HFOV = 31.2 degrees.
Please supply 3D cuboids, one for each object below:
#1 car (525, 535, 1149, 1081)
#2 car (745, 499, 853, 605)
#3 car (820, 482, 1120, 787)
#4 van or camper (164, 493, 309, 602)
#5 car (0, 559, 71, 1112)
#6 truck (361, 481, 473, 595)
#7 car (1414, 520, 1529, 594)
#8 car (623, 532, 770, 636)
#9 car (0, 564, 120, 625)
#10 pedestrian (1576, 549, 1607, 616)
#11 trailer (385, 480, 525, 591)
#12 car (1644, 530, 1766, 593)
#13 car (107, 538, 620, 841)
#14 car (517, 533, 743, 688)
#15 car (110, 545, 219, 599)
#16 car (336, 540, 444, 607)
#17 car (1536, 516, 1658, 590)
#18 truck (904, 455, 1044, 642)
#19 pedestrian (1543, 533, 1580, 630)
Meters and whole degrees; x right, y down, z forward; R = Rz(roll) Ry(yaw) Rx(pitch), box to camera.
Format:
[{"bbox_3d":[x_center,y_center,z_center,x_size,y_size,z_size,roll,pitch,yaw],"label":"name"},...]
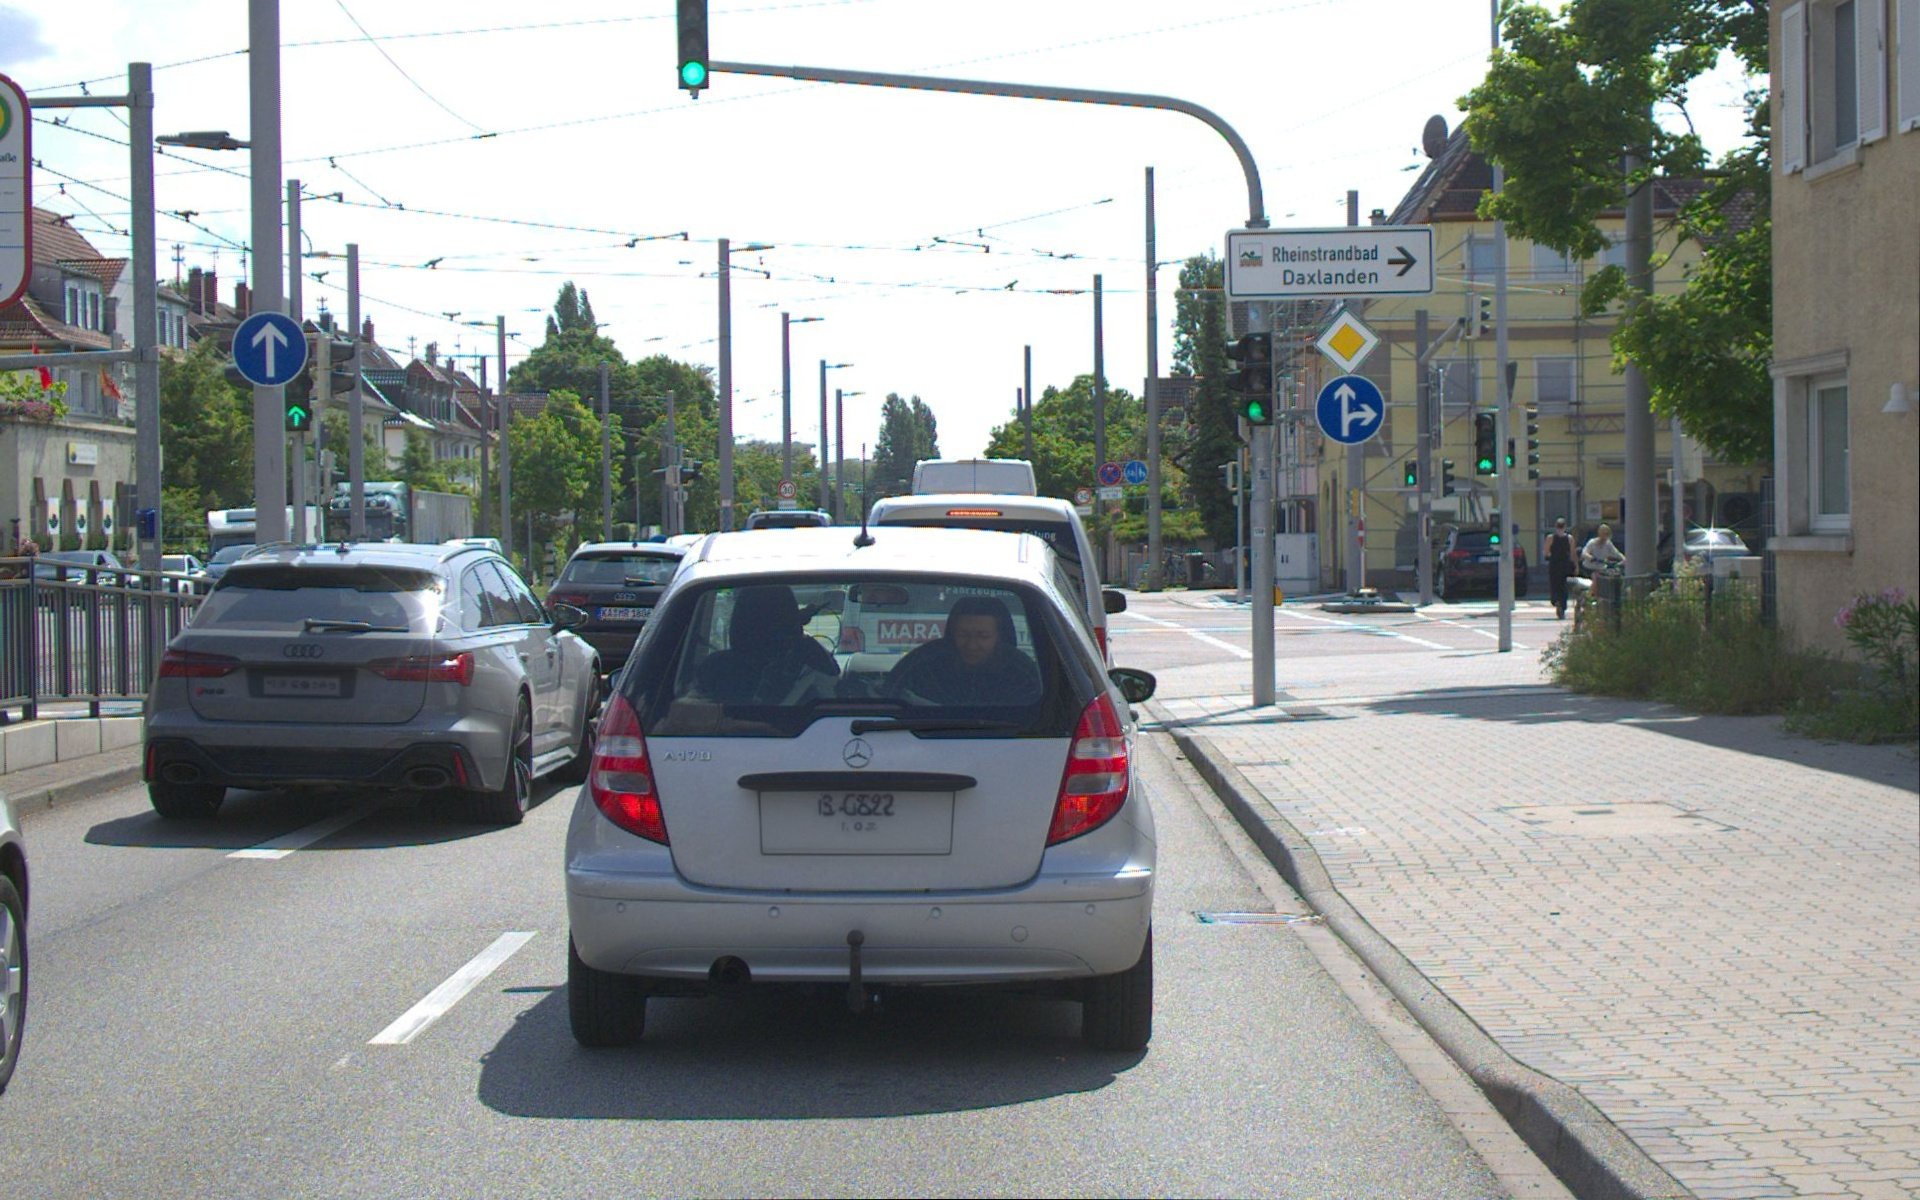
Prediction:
[{"bbox_3d":[-0.412,0.570,11.668,1.730,1.512,4.017,1,0,-2],"label":"car"},{"bbox_3d":[-2.913,-0.867,62.966,1.852,1.837,3.919,1,0,-1],"label":"car"},{"bbox_3d":[-0.009,0.188,22.132,1.730,1.756,4.017,1,0,-2],"label":"car"},{"bbox_3d":[-20.391,-1.489,97.299,2.324,2.920,7.754,-1,1,1],"label":"van or camper"},{"bbox_3d":[-3.347,0.612,7.554,1.731,1.444,4.123,1,0,-1],"label":"car"},{"bbox_3d":[-19.047,-2.209,120.856,2.599,3.808,5.667,-3,2,3],"label":"truck"},{"bbox_3d":[11.494,-0.957,77.449,1.993,1.590,4.131,1,0,1],"label":"car"},{"bbox_3d":[-3.697,-0.233,48.724,1.852,1.383,3.919,1,0,-1],"label":"car"},{"bbox_3d":[-20.929,-0.149,79.885,1.684,1.347,4.345,1,0,1],"label":"car"},{"bbox_3d":[10.765,-0.298,58.618,0.488,1.132,0.389,1,0,6],"label":"pedestrian"},{"bbox_3d":[-18.681,-2.483,128.007,2.599,3.808,12.836,-3,2,3],"label":"trailer"},{"bbox_3d":[16.769,-0.856,77.587,1.867,1.347,4.131,1,0,1],"label":"car"},{"bbox_3d":[-3.192,0.415,19.350,1.916,1.472,4.562,1,1,2],"label":"car"},{"bbox_3d":[-3.142,0.077,33.480,1.852,1.383,4.514,1,0,-1],"label":"car"},{"bbox_3d":[-20.471,-0.719,88.640,1.684,1.347,4.345,1,0,2],"label":"car"},{"bbox_3d":[-16.298,-0.791,98.495,1.994,1.770,4.878,-2,1,3],"label":"car"},{"bbox_3d":[14.322,-1.058,77.511,1.993,1.590,4.131,1,0,1],"label":"car"},{"bbox_3d":[0.144,-0.736,50.357,1.852,2.543,5.855,1,0,-1],"label":"truck"},{"bbox_3d":[10.238,-0.314,58.511,0.547,1.638,0.401,1,0,5],"label":"pedestrian"}]
